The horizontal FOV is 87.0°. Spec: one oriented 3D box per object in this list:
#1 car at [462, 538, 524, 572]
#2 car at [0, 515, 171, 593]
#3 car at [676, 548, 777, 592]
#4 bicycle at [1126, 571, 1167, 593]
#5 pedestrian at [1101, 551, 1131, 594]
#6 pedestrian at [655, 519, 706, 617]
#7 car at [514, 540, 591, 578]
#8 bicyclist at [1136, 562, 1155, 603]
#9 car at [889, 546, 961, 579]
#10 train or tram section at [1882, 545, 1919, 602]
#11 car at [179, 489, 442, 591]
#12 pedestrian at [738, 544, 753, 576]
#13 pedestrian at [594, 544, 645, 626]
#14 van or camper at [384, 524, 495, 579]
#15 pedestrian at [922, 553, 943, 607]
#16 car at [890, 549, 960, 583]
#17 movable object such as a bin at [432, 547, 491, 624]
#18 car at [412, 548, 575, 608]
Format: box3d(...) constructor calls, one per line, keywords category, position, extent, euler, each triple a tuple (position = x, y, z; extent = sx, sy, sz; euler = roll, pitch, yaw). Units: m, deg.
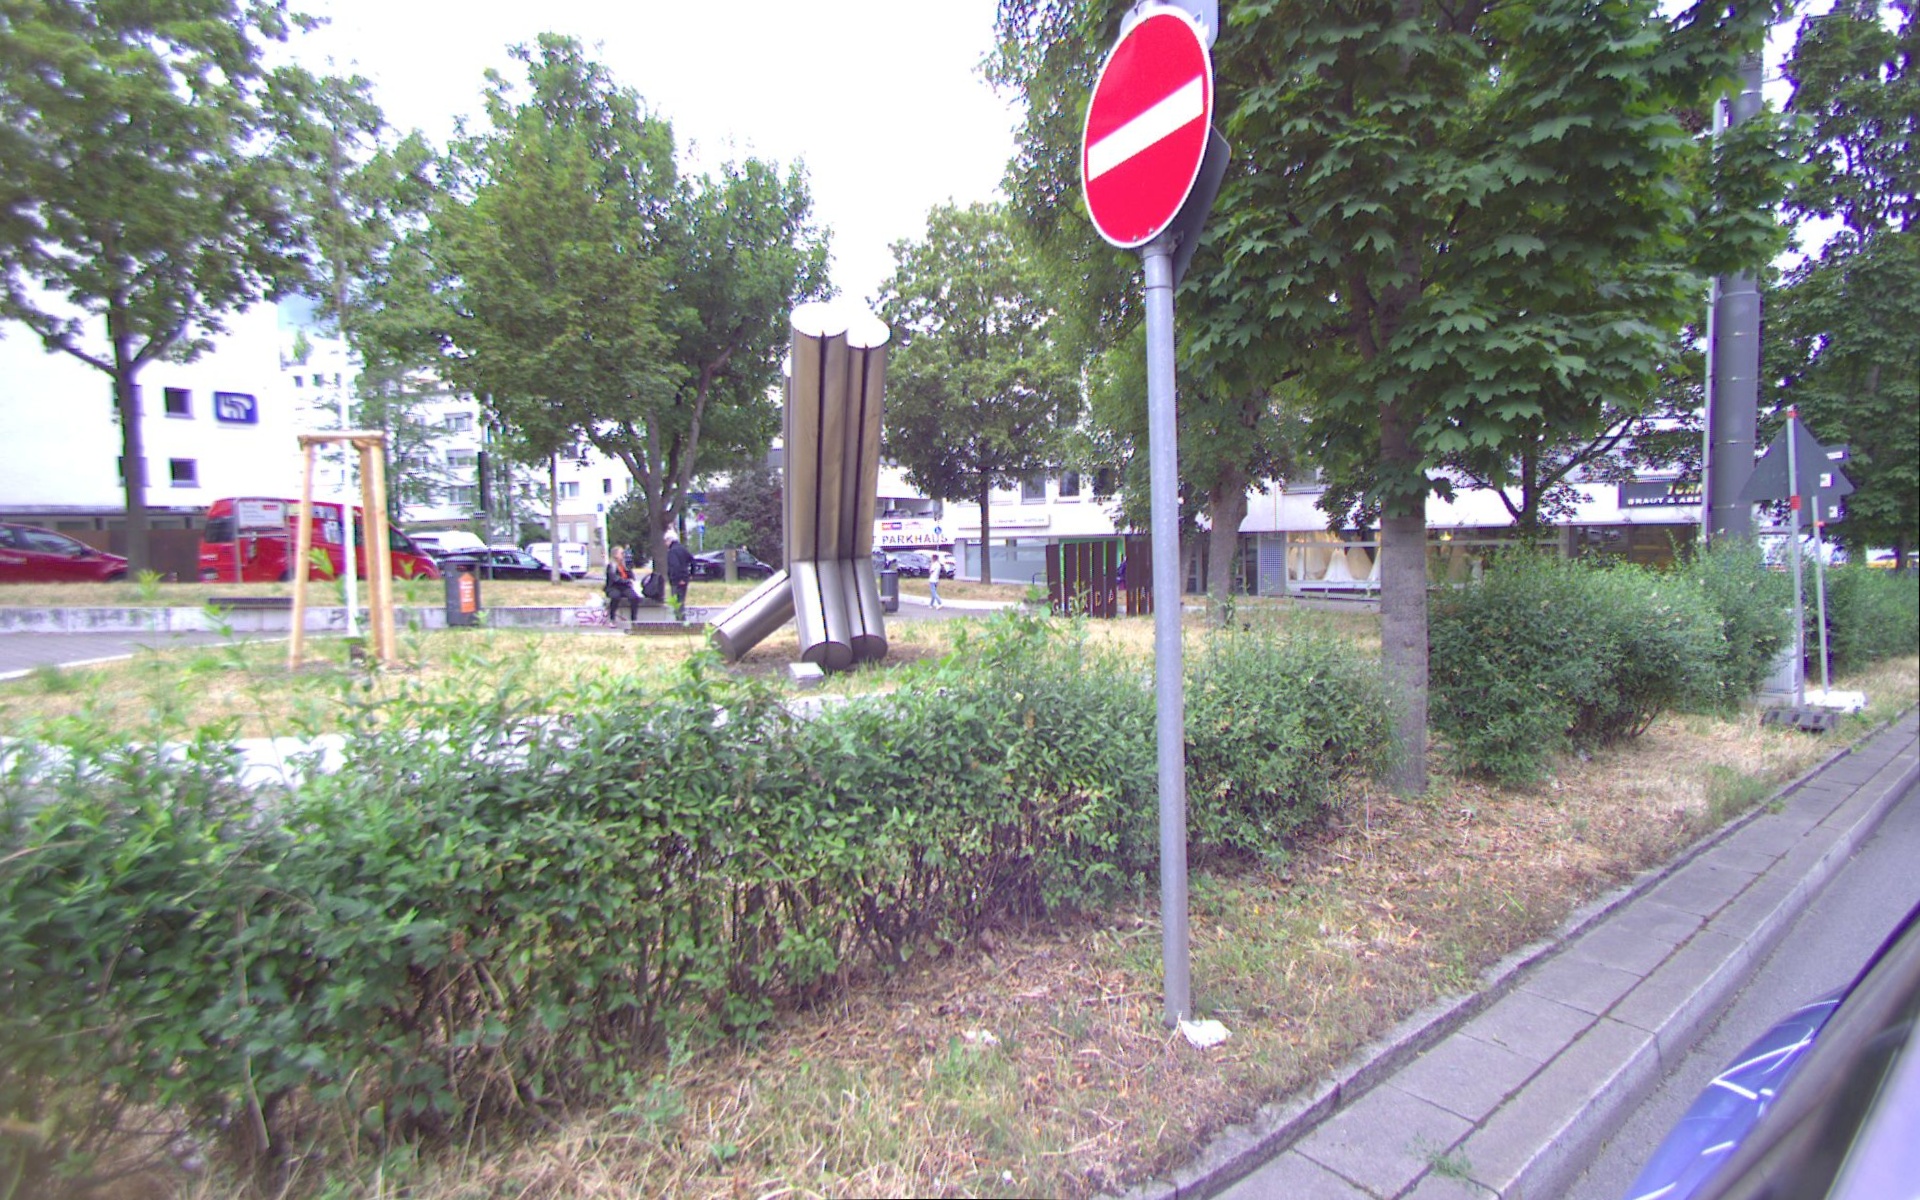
box3d(category="car", position=(-27.835, -2.680, 60.308), extent=(3.638, 1.825, 1.601), euler=(-2, 1, 33))
box3d(category="car", position=(-16.967, -0.803, 18.362), extent=(1.600, 1.295, 3.896), euler=(-2, 1, 21))
box3d(category="car", position=(-9.028, -1.202, 39.413), extent=(1.733, 1.516, 4.120), euler=(-2, 2, 22))
box3d(category="bicycle", position=(7.522, -0.747, 40.857), extent=(1.534, 0.869, 0.513), euler=(2, 2, 38))
box3d(category="pedestrian", position=(6.292, -1.116, 40.712), extent=(0.876, 1.722, 0.865), euler=(1, 2, 38))
box3d(category="pedestrian", position=(-4.570, -0.527, 16.536), extent=(0.609, 1.561, 0.549), euler=(0, 2, -43))
box3d(category="car", position=(-22.772, -2.277, 56.510), extent=(4.438, 1.909, 1.974), euler=(-2, 1, 37))
box3d(category="bicyclist", position=(7.494, -0.717, 40.881), extent=(0.593, 1.622, 0.506), euler=(1, 2, 38))
box3d(category="car", position=(-1.903, -2.054, 55.059), extent=(3.583, 1.694, 1.588), euler=(2, 2, 22))
box3d(category="train or tram section", position=(61.347, -1.607, 60.363), extent=(2.848, 3.484, 14.172), euler=(-3, 1, 14))
box3d(category="car", position=(-15.048, -1.345, 23.850), extent=(2.004, 2.053, 4.948), euler=(-2, 1, 21))
box3d(category="pedestrian", position=(-11.604, -2.162, 54.715), extent=(0.567, 1.688, 0.498), euler=(2, 2, 21))
box3d(category="pedestrian", position=(-5.558, -0.255, 16.533), extent=(0.609, 1.317, 0.549), euler=(0, 2, -43))
box3d(category="van or camper", position=(-24.449, -2.237, 47.470), extent=(5.404, 2.258, 2.273), euler=(-2, 1, 35))
box3d(category="pedestrian", position=(-0.808, -0.583, 29.589), extent=(0.529, 1.541, 0.574), euler=(1, 1, -8))
box3d(category="car", position=(-1.837, -1.791, 53.189), extent=(3.348, 1.669, 1.588), euler=(2, 2, 22))
box3d(category="movable object such as a bin", position=(-7.358, -0.208, 14.945), extent=(0.599, 1.095, 0.670), euler=(-3, 1, -40))
box3d(category="car", position=(-13.085, -0.650, 28.649), extent=(1.732, 1.526, 4.121), euler=(-2, 1, 21))
